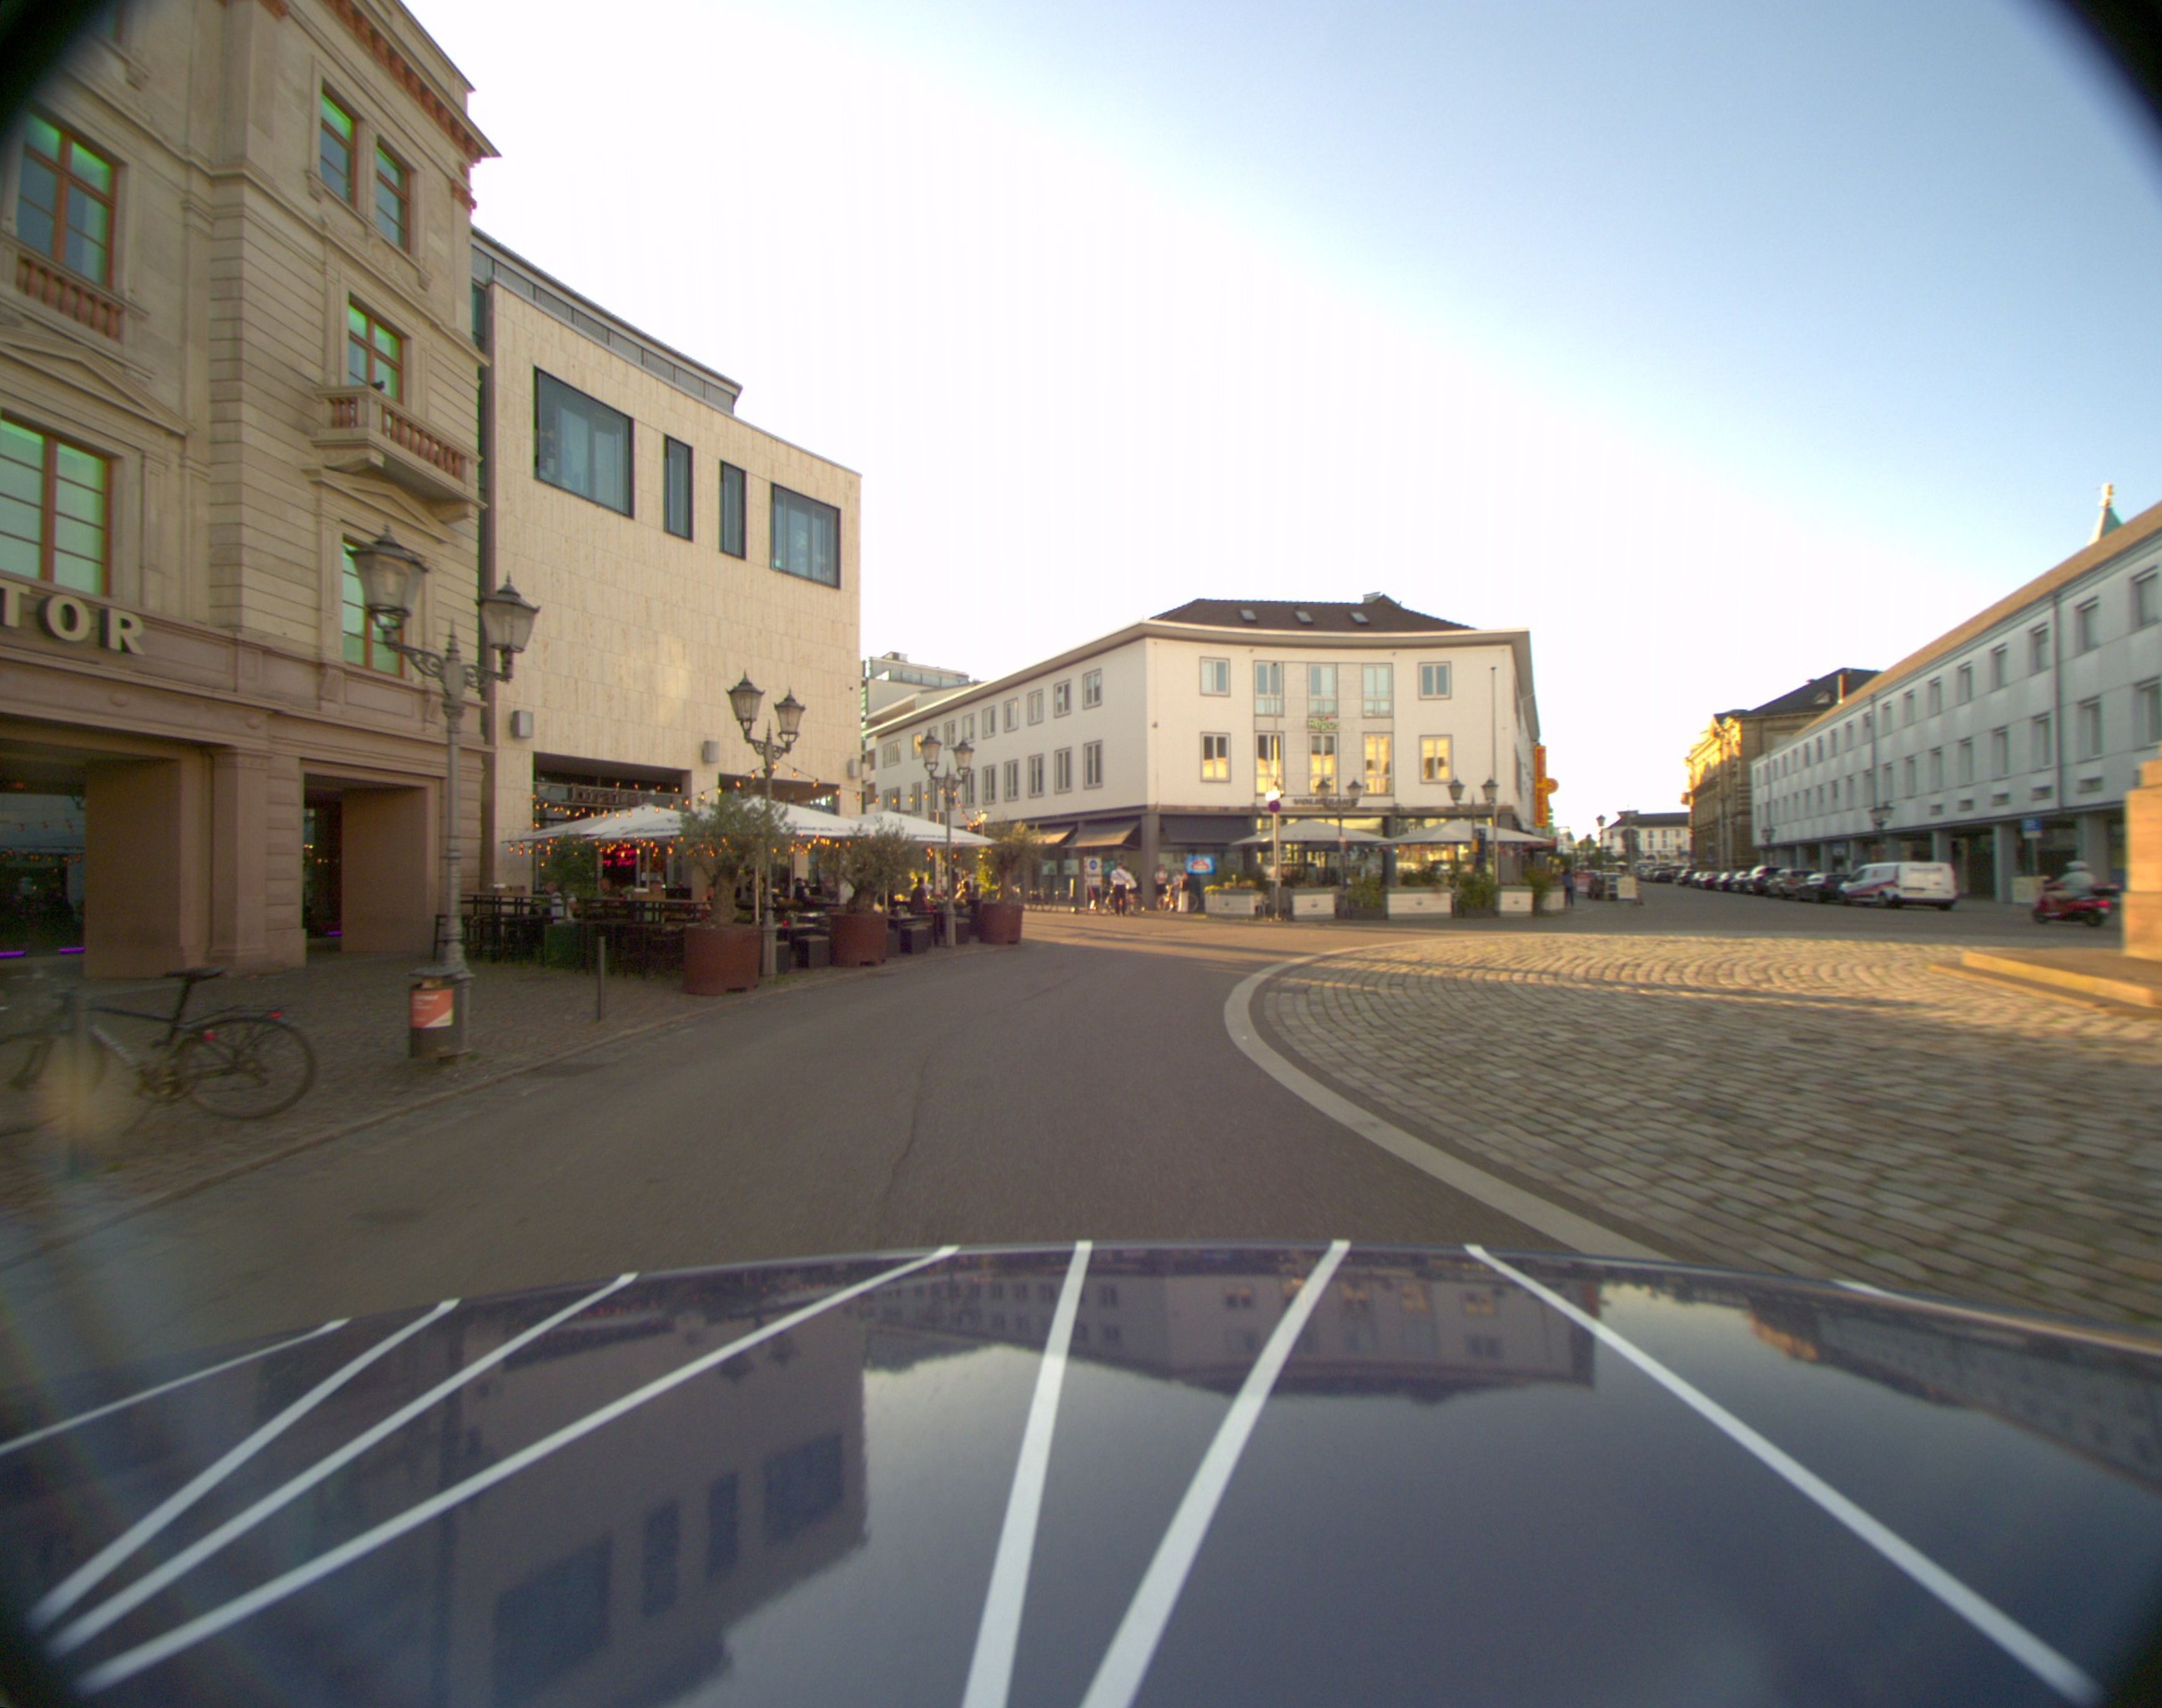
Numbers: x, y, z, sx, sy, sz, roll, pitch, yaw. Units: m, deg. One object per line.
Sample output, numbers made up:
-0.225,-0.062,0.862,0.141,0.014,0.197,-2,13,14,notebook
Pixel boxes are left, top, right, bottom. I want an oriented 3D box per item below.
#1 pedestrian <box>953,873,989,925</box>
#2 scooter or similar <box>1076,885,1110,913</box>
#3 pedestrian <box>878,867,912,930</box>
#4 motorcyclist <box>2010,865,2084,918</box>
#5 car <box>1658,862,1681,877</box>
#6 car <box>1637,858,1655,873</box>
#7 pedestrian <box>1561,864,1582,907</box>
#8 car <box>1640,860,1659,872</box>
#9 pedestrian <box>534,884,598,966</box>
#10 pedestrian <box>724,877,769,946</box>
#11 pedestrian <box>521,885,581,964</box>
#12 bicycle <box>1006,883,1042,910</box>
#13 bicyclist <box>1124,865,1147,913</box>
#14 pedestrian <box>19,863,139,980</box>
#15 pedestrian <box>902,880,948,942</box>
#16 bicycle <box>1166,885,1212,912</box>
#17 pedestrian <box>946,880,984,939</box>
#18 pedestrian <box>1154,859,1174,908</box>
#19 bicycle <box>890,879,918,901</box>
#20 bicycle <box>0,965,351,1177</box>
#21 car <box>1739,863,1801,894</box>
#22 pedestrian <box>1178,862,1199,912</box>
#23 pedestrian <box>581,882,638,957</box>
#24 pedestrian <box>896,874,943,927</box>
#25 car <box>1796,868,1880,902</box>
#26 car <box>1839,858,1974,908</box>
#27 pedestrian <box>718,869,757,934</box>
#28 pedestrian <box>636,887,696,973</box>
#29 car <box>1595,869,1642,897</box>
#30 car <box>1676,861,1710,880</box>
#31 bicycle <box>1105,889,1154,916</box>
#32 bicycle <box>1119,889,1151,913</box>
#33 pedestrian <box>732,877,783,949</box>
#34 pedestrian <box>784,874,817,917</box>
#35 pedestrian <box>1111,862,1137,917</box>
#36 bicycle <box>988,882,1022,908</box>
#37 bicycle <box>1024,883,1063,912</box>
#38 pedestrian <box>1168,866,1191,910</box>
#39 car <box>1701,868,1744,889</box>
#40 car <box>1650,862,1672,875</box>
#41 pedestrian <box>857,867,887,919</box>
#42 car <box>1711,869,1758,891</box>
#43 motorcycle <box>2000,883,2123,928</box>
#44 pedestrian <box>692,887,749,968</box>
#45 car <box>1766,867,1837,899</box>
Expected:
-3.747,1.514,25.925,0.932,1.730,0.922,-1,-1,15,pedestrian
0.448,1.702,28.798,1.206,1.005,0.486,0,-1,-27,scooter or similar
-5.216,1.236,21.319,0.718,1.736,0.708,0,-1,-36,pedestrian
24.819,0.960,19.547,0.803,1.335,0.861,-1,-1,13,motorcyclist
69.510,1.799,89.785,1.777,1.657,4.338,-1,-1,32,car
82.415,1.697,110.928,1.777,2.213,4.338,-1,-1,32,car
19.671,1.238,30.479,0.602,1.690,0.715,-1,0,27,pedestrian
79.206,1.676,105.858,1.777,1.657,4.338,-1,-1,32,car
-9.543,1.284,14.080,0.854,1.438,0.773,0,-1,-44,pedestrian
-8.919,1.504,20.244,0.727,1.792,0.852,-1,-1,40,pedestrian
-10.213,1.335,14.638,0.854,1.438,0.773,0,-1,-42,pedestrian
-2.506,1.828,33.064,0.523,1.135,1.959,0,-1,-40,bicycle
2.019,1.284,28.267,0.481,1.732,0.837,-1,-1,34,bicyclist
-15.463,1.012,11.746,0.716,1.736,0.872,-1,-1,5,pedestrian
-3.811,1.368,18.546,0.867,1.438,0.722,0,-1,-34,pedestrian
4.024,1.652,28.326,1.679,0.928,0.473,0,-1,-21,bicycle
-2.934,1.371,19.125,0.694,1.438,0.722,0,-1,-34,pedestrian
3.263,1.152,29.930,0.579,1.911,0.544,-1,0,34,pedestrian
-10.132,2.059,43.420,0.800,1.209,2.228,0,-1,-35,bicycle
-6.004,1.313,4.781,1.908,1.121,0.606,2,-2,-22,bicycle
39.822,1.398,44.005,1.777,1.718,4.337,-1,-1,30,car
3.985,1.205,28.110,0.507,1.807,0.720,-1,-1,34,pedestrian
-9.537,1.303,15.366,0.854,1.438,0.773,0,-1,-42,pedestrian
-4.641,1.313,21.822,0.947,1.438,0.969,0,-1,-42,pedestrian
34.308,1.381,34.565,1.777,1.415,3.969,-1,-1,30,car
31.969,1.083,29.621,2.017,1.814,4.468,-1,-1,26,car
-9.410,1.284,20.804,0.708,1.736,0.718,-1,-1,38,pedestrian
-7.311,1.308,13.387,0.867,1.438,0.722,0,-1,-34,pedestrian
28.676,1.505,40.596,1.777,1.415,3.969,-1,-1,32,car
55.736,1.502,69.275,1.777,1.657,4.337,-1,-1,30,car
1.733,1.703,26.846,1.679,0.928,0.473,0,-1,-21,bicycle
2.031,1.733,28.271,0.481,0.843,1.487,-1,-1,34,bicycle
-8.422,1.501,19.785,0.726,1.792,0.984,-1,-1,39,pedestrian
-9.037,1.314,24.472,0.785,1.340,0.708,0,-1,-43,pedestrian
1.500,1.231,26.761,0.629,1.917,0.644,0,-1,-34,pedestrian
-3.485,1.835,34.513,0.523,1.135,1.959,0,-1,-40,bicycle
-1.566,1.793,31.405,0.523,1.135,1.959,0,-1,-40,bicycle
3.798,1.293,29.321,0.618,1.666,0.735,-1,-1,34,pedestrian
48.873,1.859,57.945,1.777,1.483,4.337,-1,-1,30,car
72.547,1.799,95.103,1.777,1.657,4.338,-1,-1,32,car
-7.122,1.329,25.937,0.708,1.736,0.718,-1,-1,44,pedestrian
45.676,1.784,53.191,1.777,1.483,4.337,-1,-1,30,car
24.785,1.274,19.279,0.803,1.039,2.035,-1,-1,13,motorcycle
-6.733,1.341,14.193,0.867,1.438,0.722,0,-1,-34,pedestrian
36.640,1.426,38.738,1.777,1.506,3.969,-1,-1,30,car
